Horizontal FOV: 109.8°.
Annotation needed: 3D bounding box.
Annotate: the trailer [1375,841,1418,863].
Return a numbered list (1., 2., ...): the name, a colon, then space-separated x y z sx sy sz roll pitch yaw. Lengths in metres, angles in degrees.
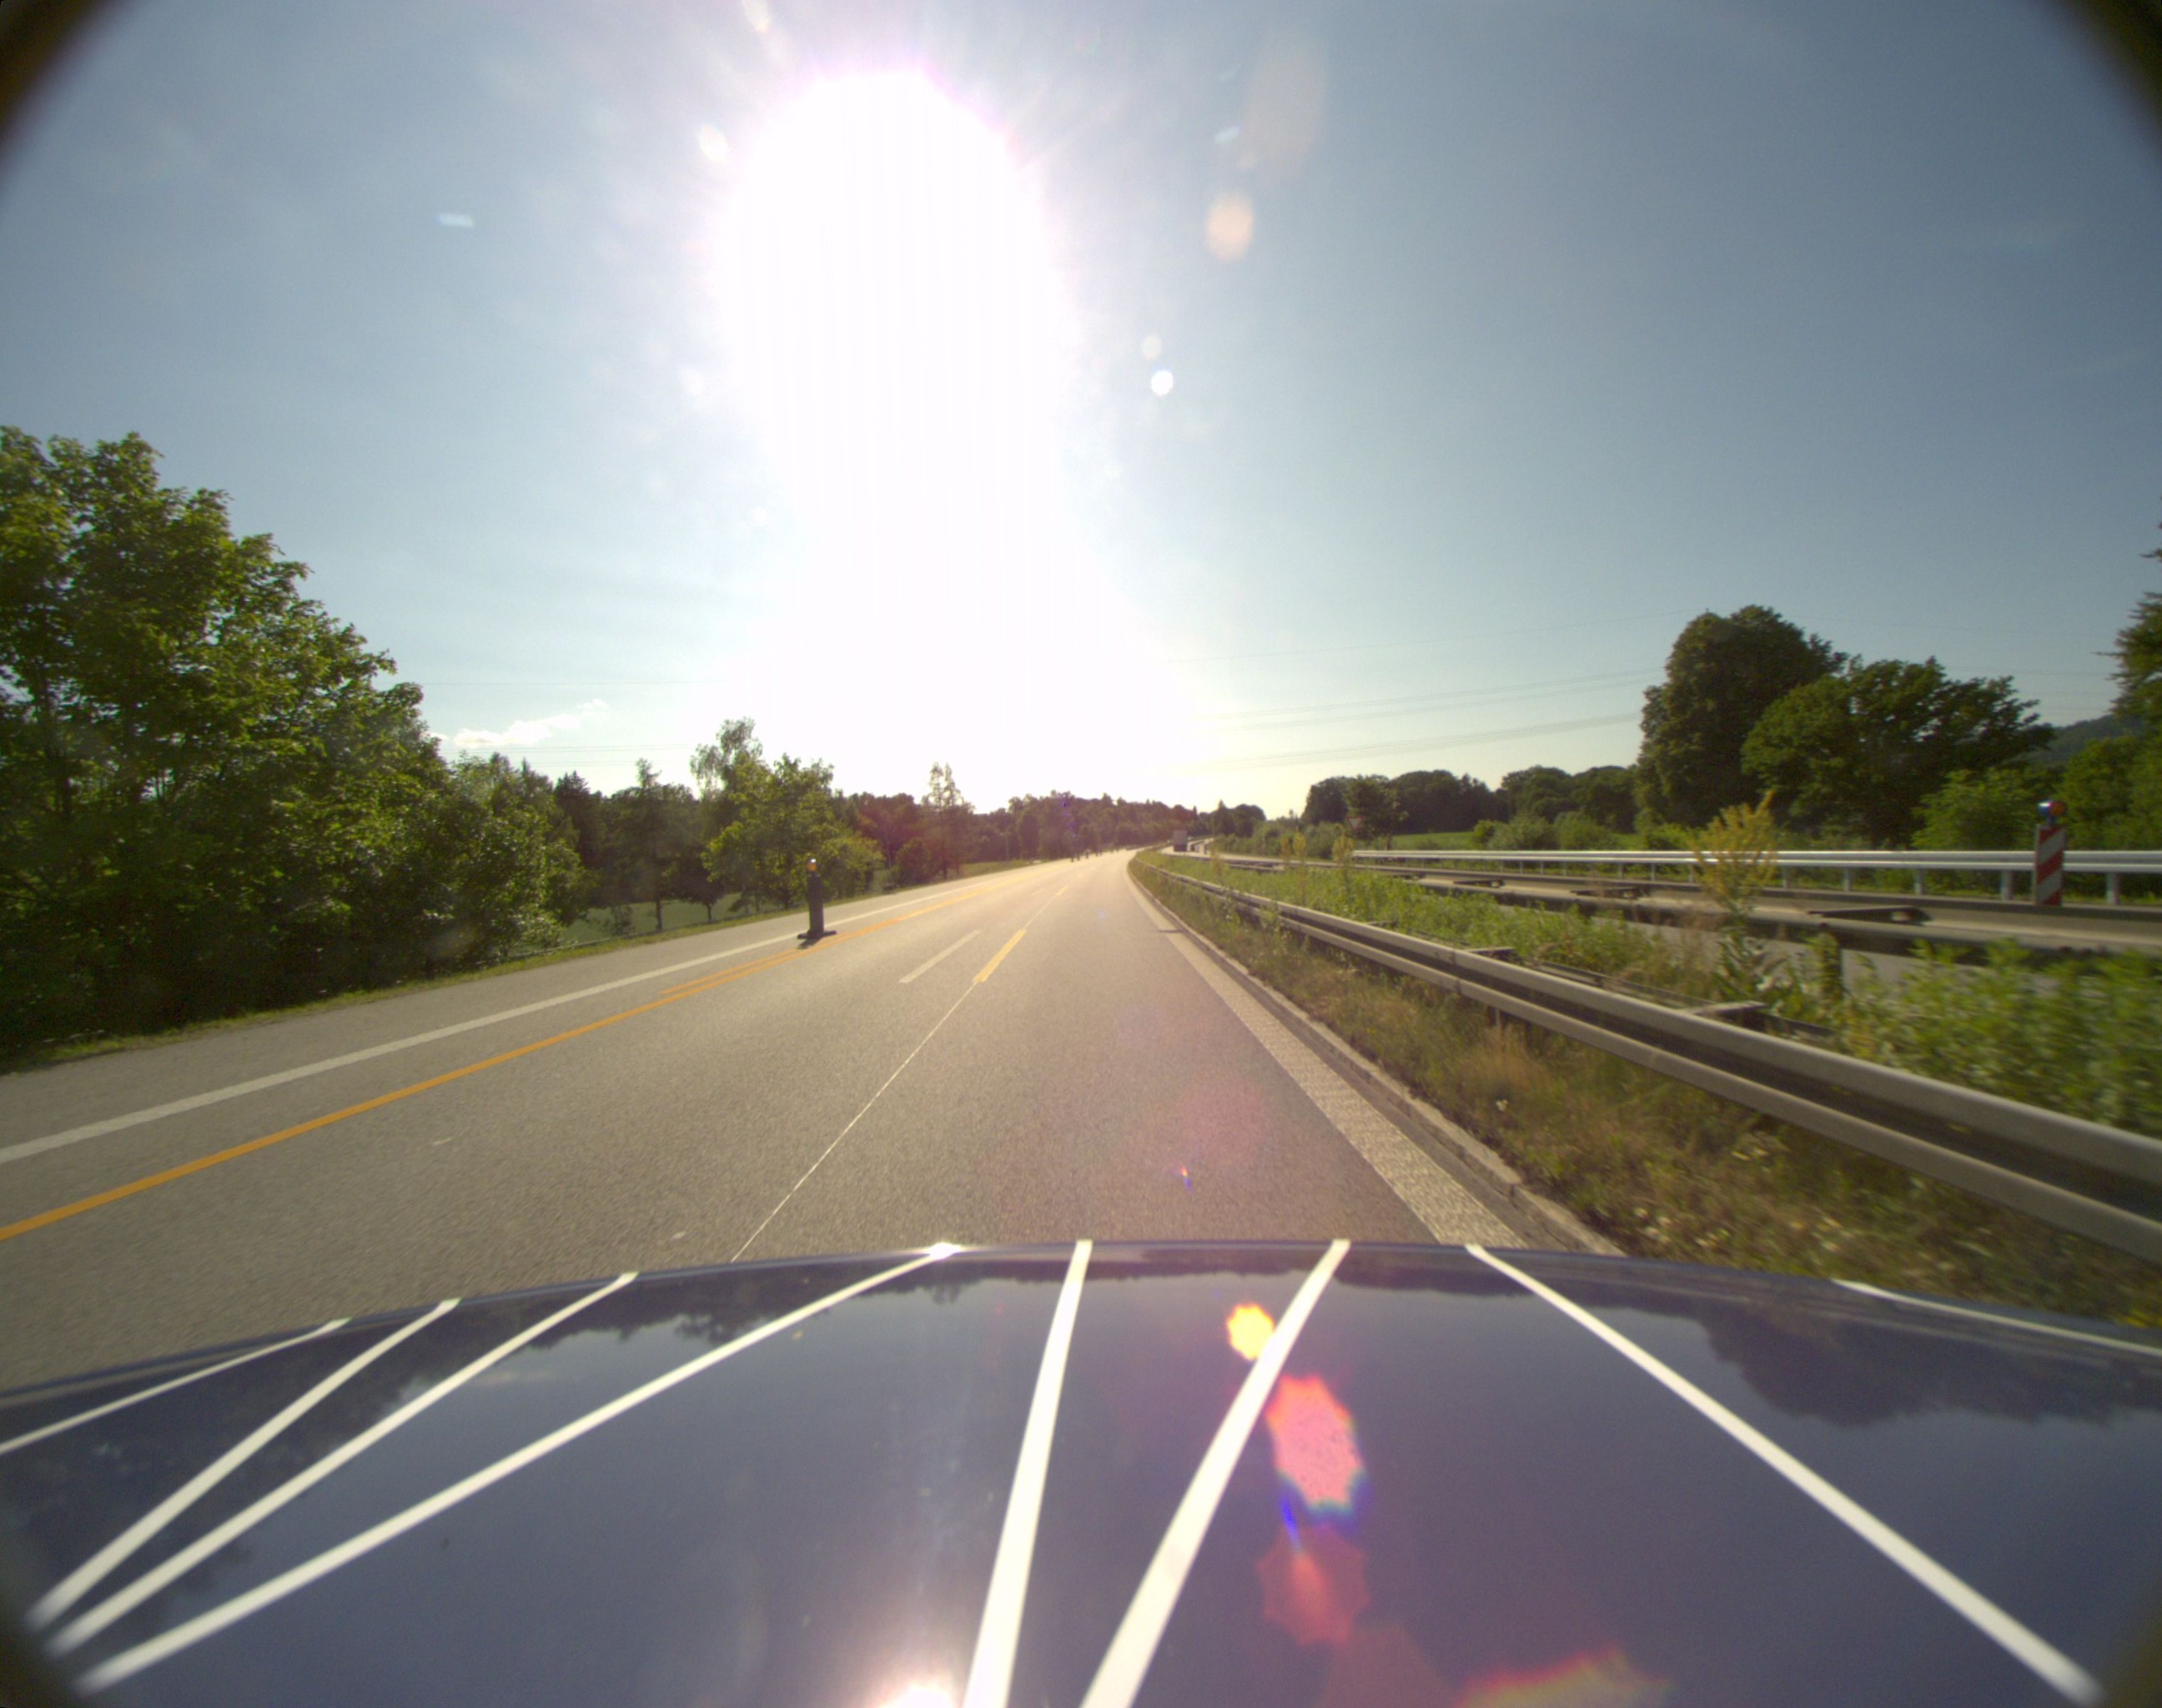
1. trailer: 17.398 -0.110 42.017 0.995 1.047 3.424 -6 0 2

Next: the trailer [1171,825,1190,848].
1. trailer: 18.697 -3.168 143.192 2.685 3.931 13.772 -2 0 5
